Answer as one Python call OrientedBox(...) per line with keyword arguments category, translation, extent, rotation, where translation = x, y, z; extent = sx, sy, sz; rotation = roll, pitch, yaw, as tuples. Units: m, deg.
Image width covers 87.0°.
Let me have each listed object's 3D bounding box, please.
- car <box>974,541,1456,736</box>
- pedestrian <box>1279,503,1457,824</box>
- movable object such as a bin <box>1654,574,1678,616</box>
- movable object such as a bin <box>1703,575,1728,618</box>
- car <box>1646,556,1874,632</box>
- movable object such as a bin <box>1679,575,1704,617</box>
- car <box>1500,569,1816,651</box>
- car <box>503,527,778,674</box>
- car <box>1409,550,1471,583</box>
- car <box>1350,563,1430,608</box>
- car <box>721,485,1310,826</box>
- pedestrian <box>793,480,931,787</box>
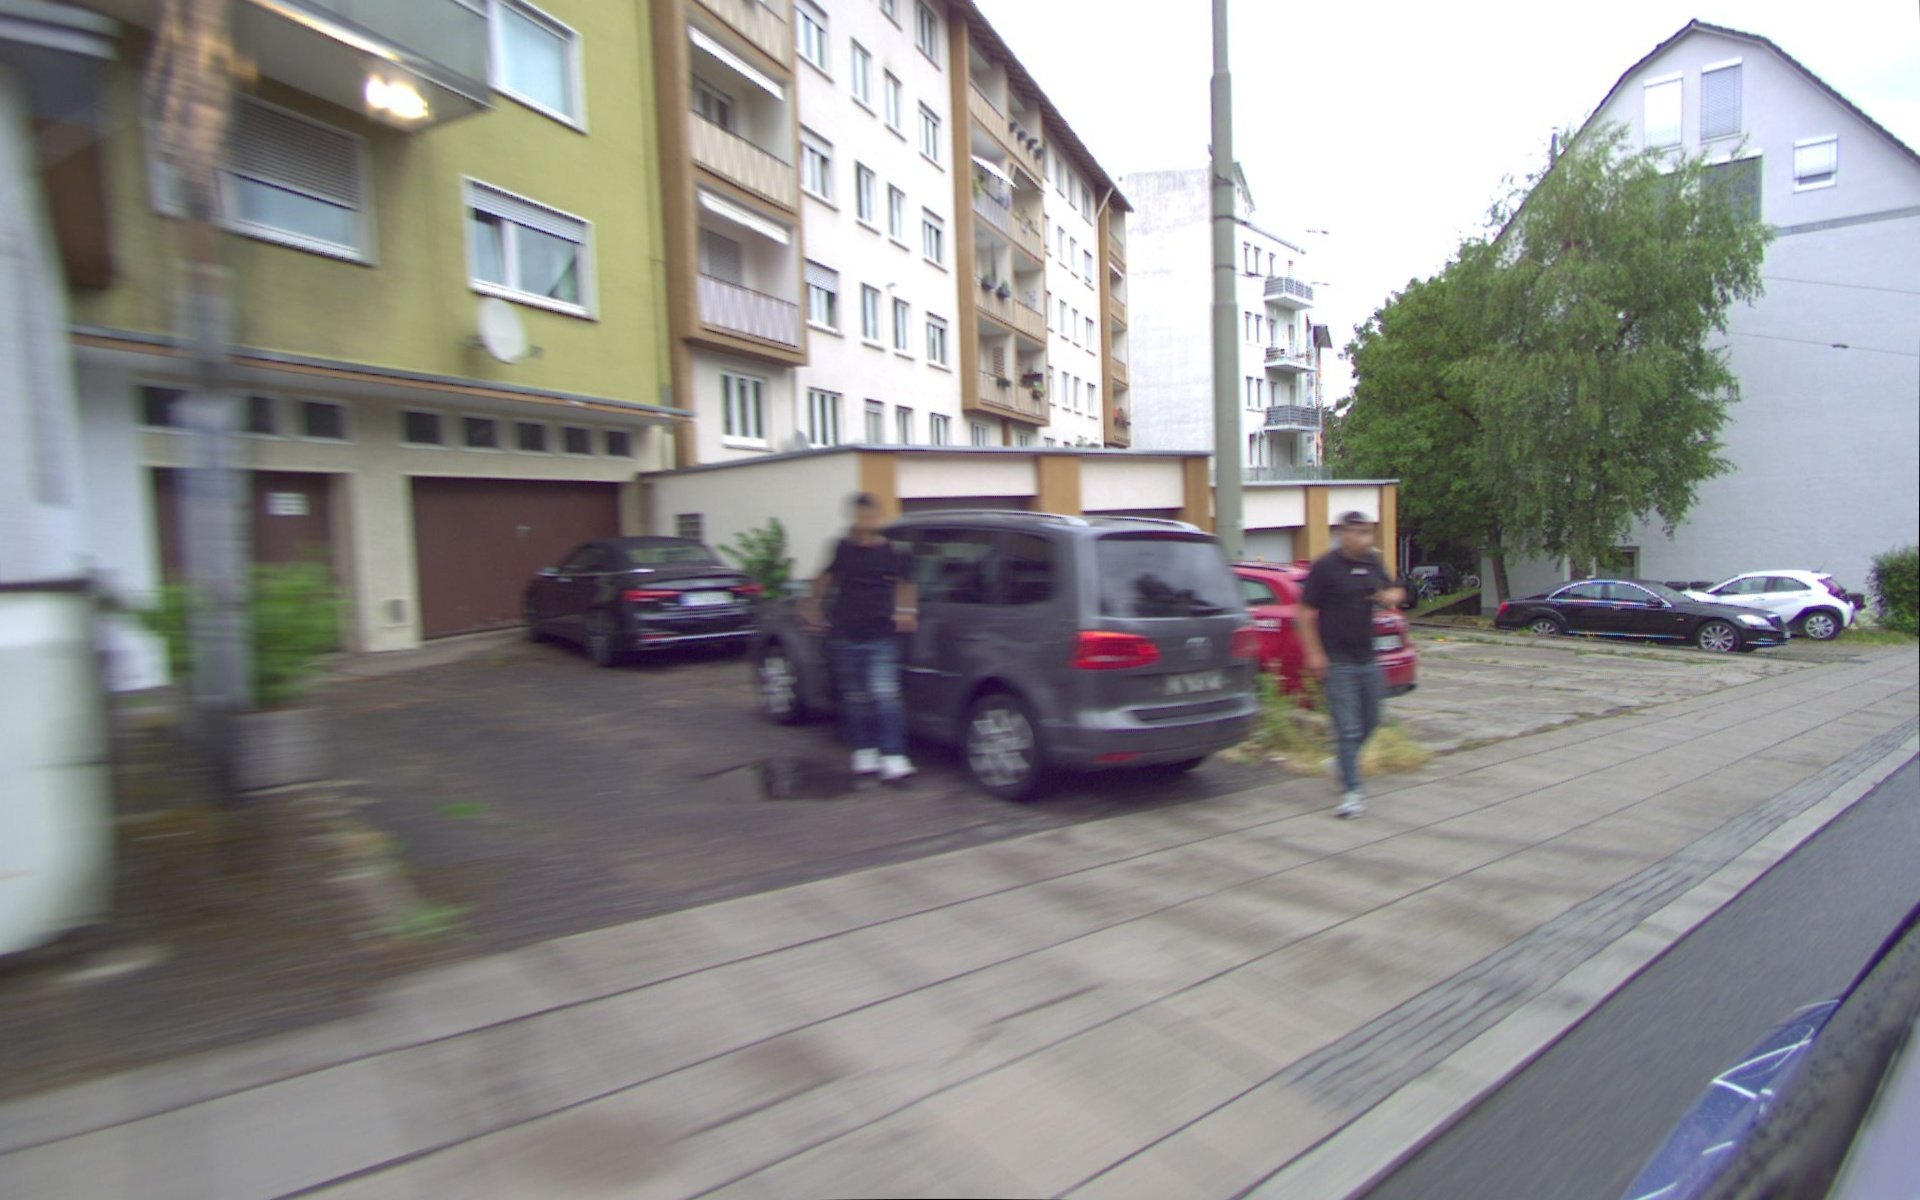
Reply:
OrientedBox(category="car", translation=(2.295, 0.197, 10.282), extent=(1.734, 1.455, 4.581), rotation=(0, 4, -40))
OrientedBox(category="pedestrian", translation=(2.341, 0.333, 5.891), extent=(0.709, 1.734, 0.607), rotation=(3, 3, 7))
OrientedBox(category="movable object such as a bin", translation=(19.692, -0.143, 28.225), extent=(0.514, 1.125, 0.634), rotation=(2, 1, 37))
OrientedBox(category="movable object such as a bin", translation=(20.603, -0.096, 27.601), extent=(0.514, 1.125, 0.634), rotation=(2, 1, 37))
OrientedBox(category="car", translation=(18.727, -0.211, 23.818), extent=(1.789, 1.483, 3.991), rotation=(-7, 7, -43))
OrientedBox(category="movable object such as a bin", translation=(20.141, -0.108, 27.867), extent=(0.514, 1.125, 0.634), rotation=(2, 1, 37))
OrientedBox(category="car", translation=(13.939, 0.126, 20.501), extent=(1.939, 1.454, 4.943), rotation=(-1, 2, -39))
OrientedBox(category="car", translation=(-4.089, -0.156, 12.437), extent=(1.748, 1.417, 4.527), rotation=(-4, 6, -37))
OrientedBox(category="car", translation=(21.238, -1.455, 44.717), extent=(1.647, 1.353, 3.786), rotation=(1, 1, 38))
OrientedBox(category="car", translation=(15.485, -0.507, 36.344), extent=(1.681, 1.530, 3.944), rotation=(1, 1, 38))
OrientedBox(category="car", translation=(0.050, 0.156, 7.267), extent=(1.748, 1.694, 4.342), rotation=(2, 3, -38))
OrientedBox(category="pedestrian", translation=(-0.595, 0.185, 6.139), extent=(0.604, 1.735, 0.579), rotation=(0, 0, -43))
